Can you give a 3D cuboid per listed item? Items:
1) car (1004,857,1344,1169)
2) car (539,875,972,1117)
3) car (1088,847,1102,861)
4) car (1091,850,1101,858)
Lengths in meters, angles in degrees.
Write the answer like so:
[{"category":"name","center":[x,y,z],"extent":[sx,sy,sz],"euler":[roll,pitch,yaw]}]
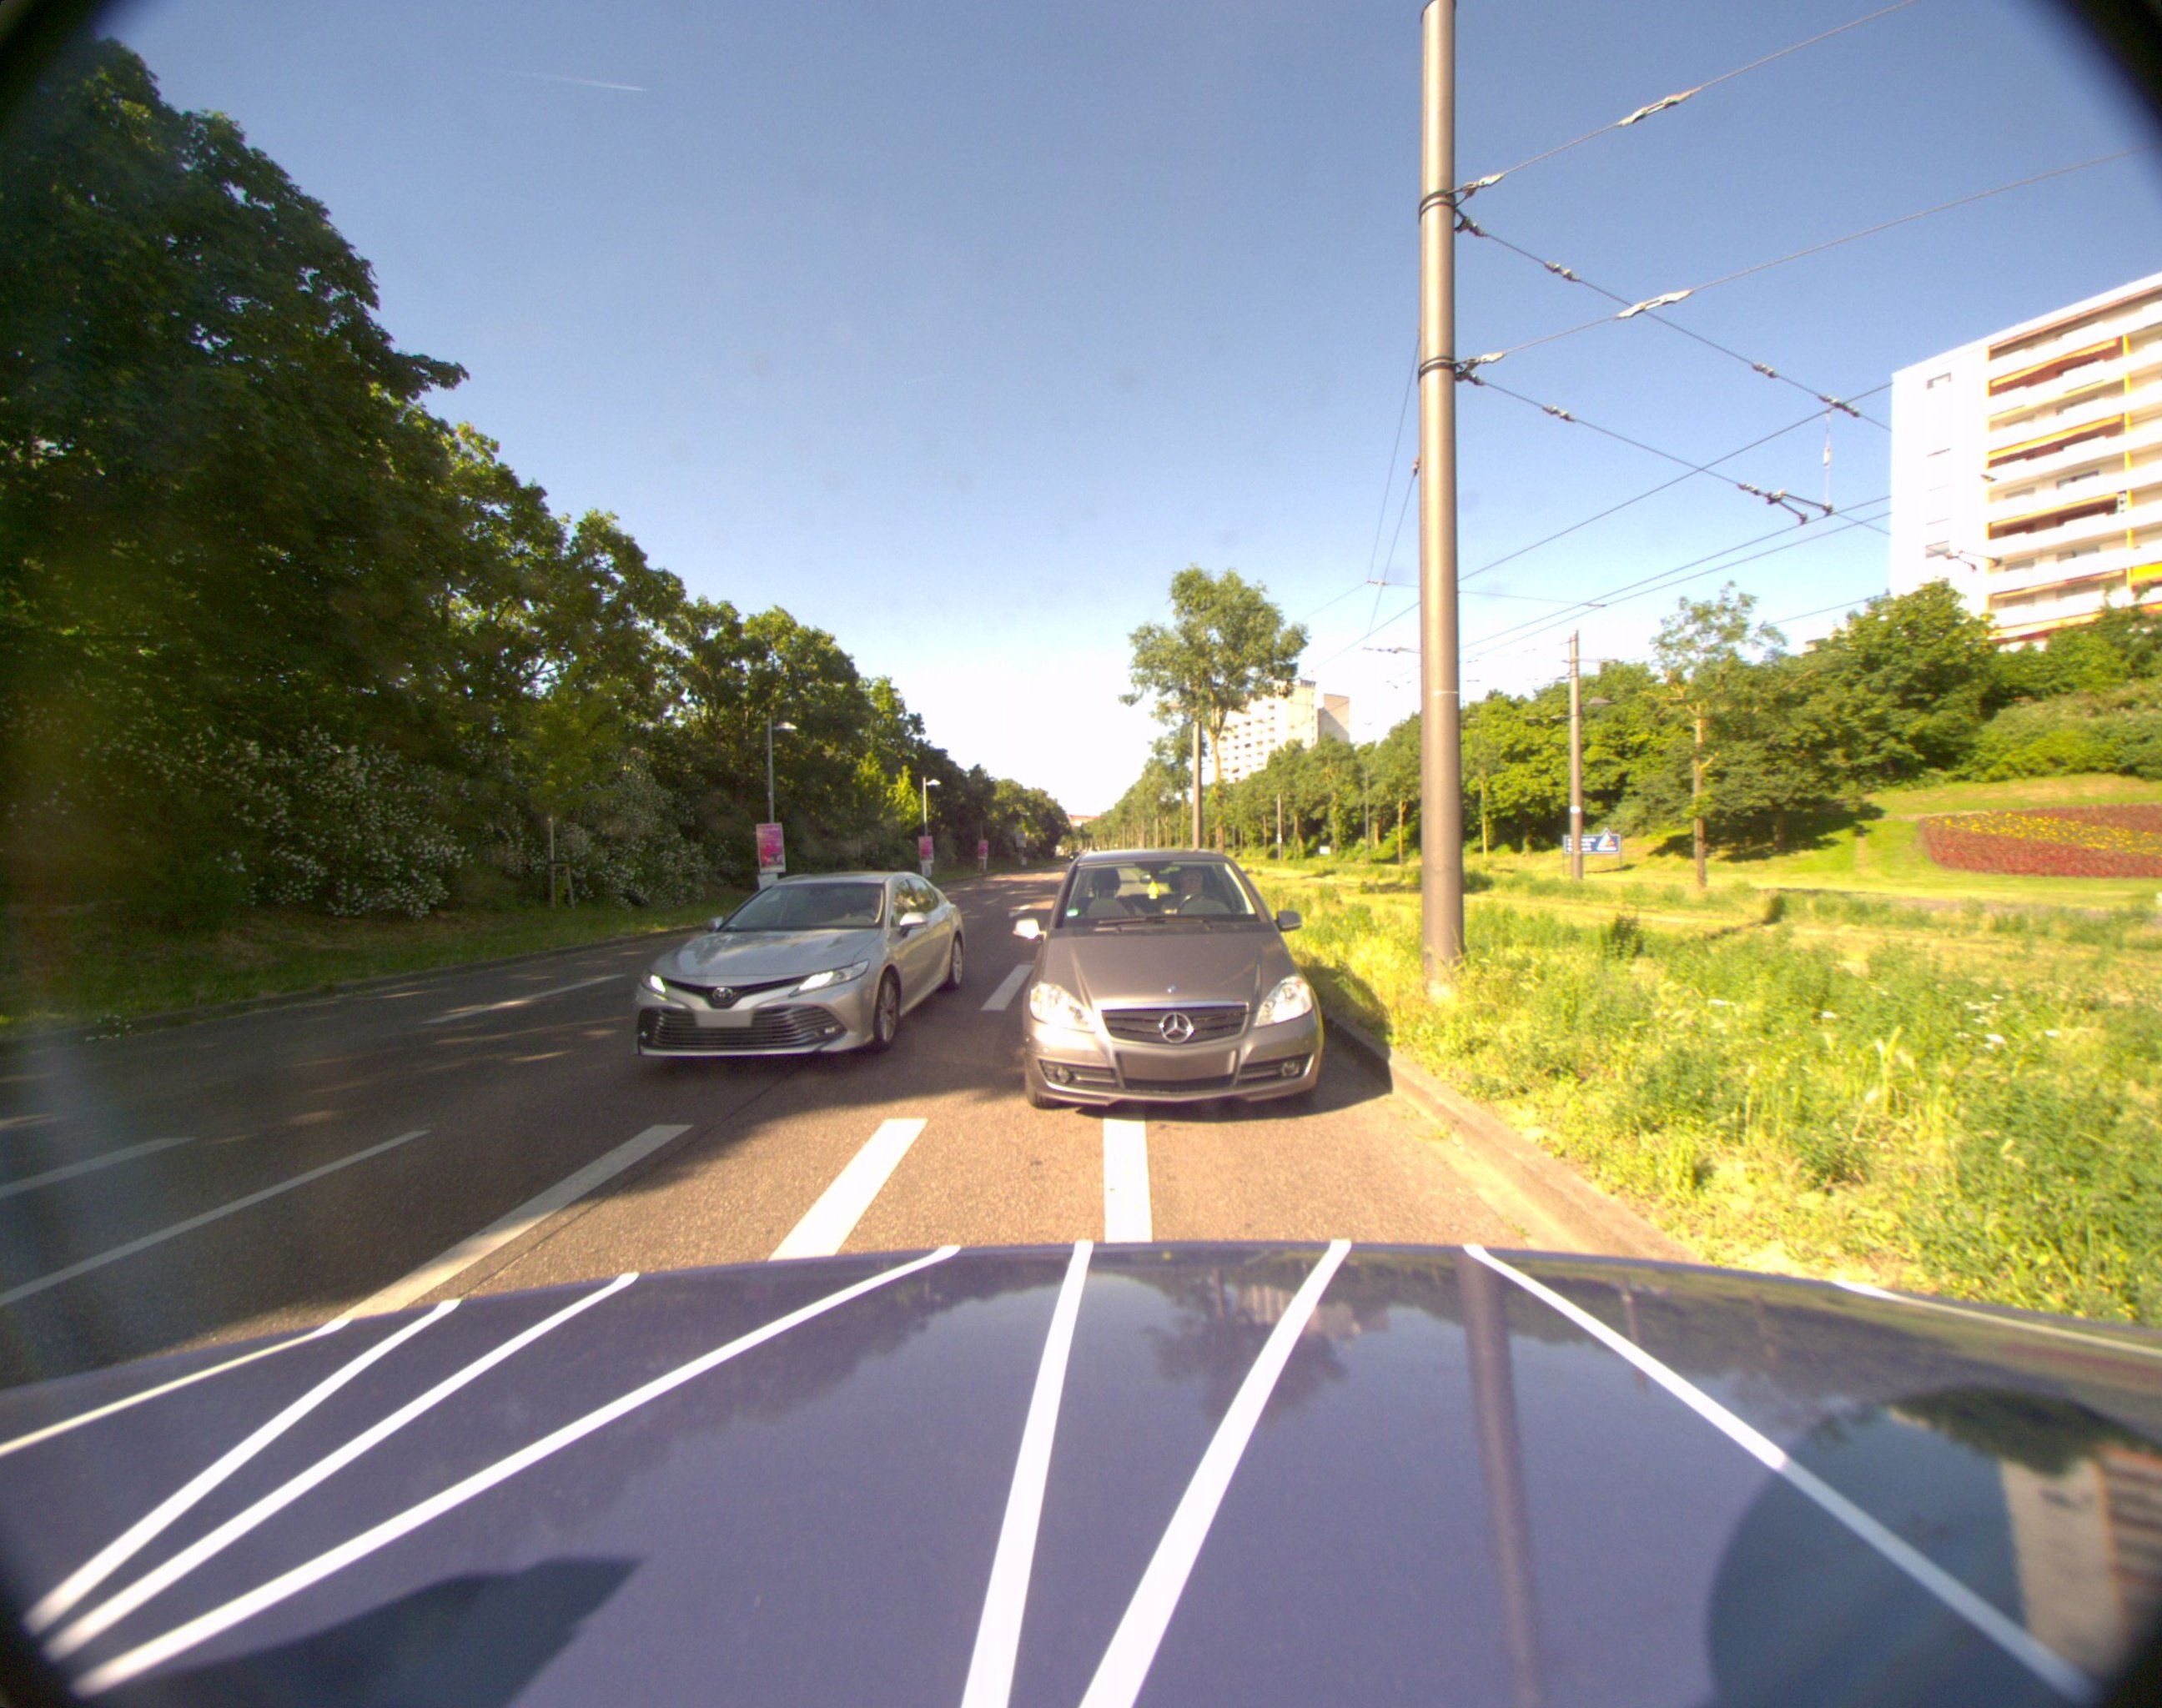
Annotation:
[{"category":"car","center":[0.522,0.854,6.211],"extent":[1.777,1.597,4.384],"euler":[-1,0,1]},{"category":"car","center":[-2.535,1.029,7.477],"extent":[2.069,1.451,4.749],"euler":[-1,0,2]},{"category":"car","center":[2.049,0.022,109.763],"extent":[1.822,1.893,4.622],"euler":[-1,0,2]},{"category":"car","center":[2.620,-0.038,131.436],"extent":[1.776,1.395,4.067],"euler":[-1,0,2]}]
